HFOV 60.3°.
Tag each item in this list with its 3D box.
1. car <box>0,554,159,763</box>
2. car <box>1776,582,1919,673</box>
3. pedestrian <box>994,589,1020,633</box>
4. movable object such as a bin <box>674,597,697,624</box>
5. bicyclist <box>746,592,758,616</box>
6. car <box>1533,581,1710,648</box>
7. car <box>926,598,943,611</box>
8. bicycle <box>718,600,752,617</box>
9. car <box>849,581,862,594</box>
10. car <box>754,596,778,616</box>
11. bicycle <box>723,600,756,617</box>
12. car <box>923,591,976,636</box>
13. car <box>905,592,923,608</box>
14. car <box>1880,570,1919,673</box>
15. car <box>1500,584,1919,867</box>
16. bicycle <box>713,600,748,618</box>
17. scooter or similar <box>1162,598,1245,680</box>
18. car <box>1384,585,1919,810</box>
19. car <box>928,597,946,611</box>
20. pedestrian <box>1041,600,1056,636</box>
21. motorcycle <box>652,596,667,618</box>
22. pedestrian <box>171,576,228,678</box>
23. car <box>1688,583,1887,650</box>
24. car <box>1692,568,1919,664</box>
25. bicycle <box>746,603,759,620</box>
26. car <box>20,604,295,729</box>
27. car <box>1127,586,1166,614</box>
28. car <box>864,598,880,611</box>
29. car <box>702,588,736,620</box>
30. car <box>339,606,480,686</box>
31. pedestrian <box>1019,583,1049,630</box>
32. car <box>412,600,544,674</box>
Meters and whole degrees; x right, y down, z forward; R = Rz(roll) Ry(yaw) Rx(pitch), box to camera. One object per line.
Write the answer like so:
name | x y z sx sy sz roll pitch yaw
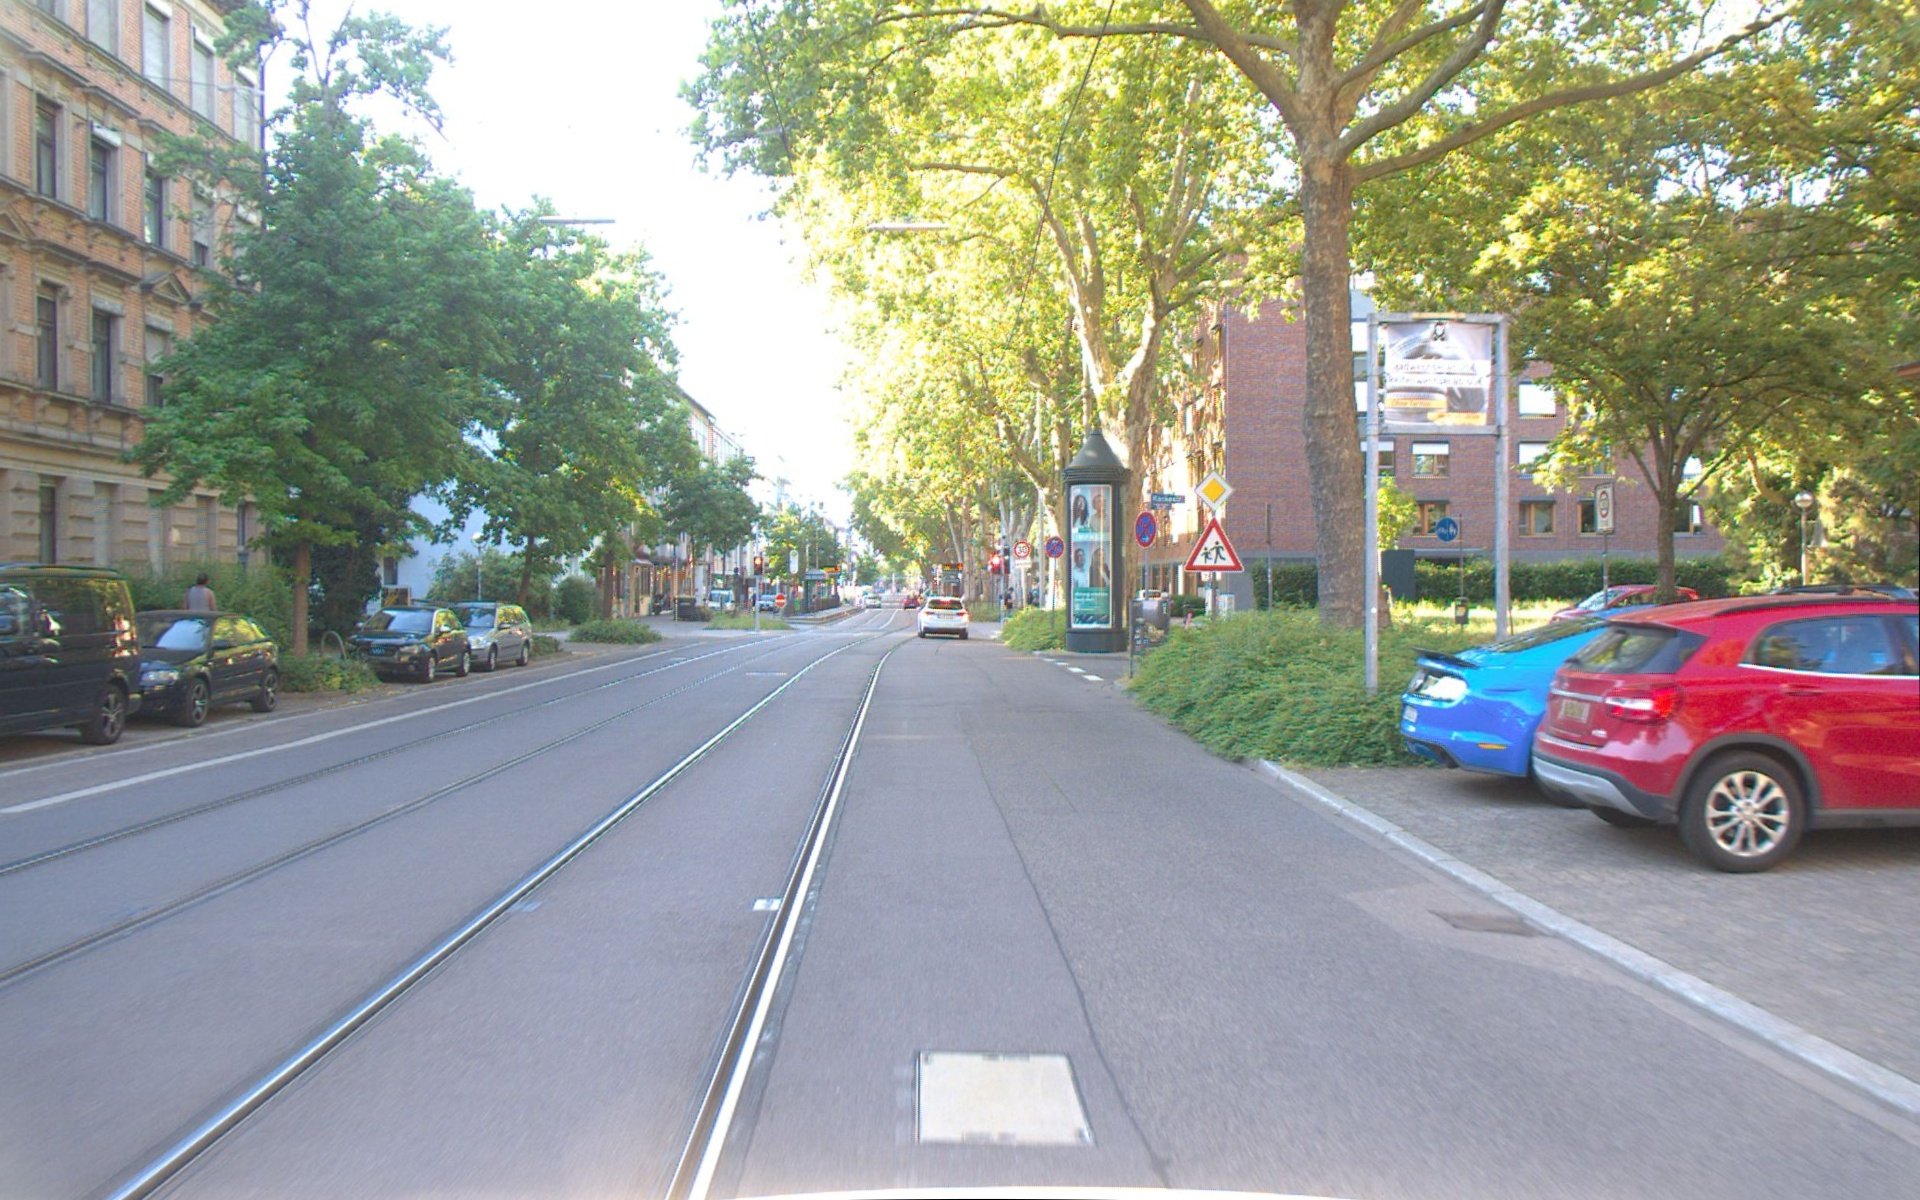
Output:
car | -10.454 0.585 17.327 1.954 2.049 4.831 -1 0 -3
car | 17.706 0.472 31.386 1.755 1.602 4.570 -1 0 -7
pedestrian | 2.024 0.473 71.748 0.975 1.843 0.863 -1 0 -8
movable object such as a bin | -14.904 0.568 89.792 1.147 1.372 0.782 3 0 -6
bicyclist | -12.986 0.231 103.441 0.628 1.480 0.836 -2 0 -3
car | 15.481 0.326 38.804 3.468 1.477 1.682 -1 0 -4
car | -2.939 0.470 189.811 1.953 1.478 3.998 -1 0 -2
bicycle | -15.781 0.589 116.077 2.207 1.093 0.636 3 0 -1
car | -15.752 -1.879 250.362 1.828 1.925 3.998 -1 0 -2
car | -15.875 0.512 135.603 1.561 1.575 3.998 2 0 -2
bicycle | -15.702 0.603 117.912 2.207 1.093 0.636 3 0 -1
car | -0.399 0.452 58.389 1.752 1.540 3.998 -1 0 -2
car | -4.525 -0.038 162.278 1.752 1.540 3.998 -1 0 -2
car | 14.529 0.298 22.233 1.713 1.460 4.466 -1 0 -2
car | 5.819 0.685 10.248 4.313 1.570 1.952 -1 0 0
bicycle | -15.375 0.607 110.647 2.207 1.093 0.636 3 0 -1
scooter or similar | 3.842 0.614 26.109 1.184 1.261 0.569 -1 -1 -4
car | 5.561 0.687 12.523 4.310 1.570 1.819 -1 0 5
car | -2.578 0.467 184.737 1.953 1.478 3.998 -1 0 -2
pedestrian | 4.277 0.867 80.190 0.639 1.698 0.737 -1 0 -3
motorcycle | -18.507 0.410 101.823 0.587 1.334 2.221 -1 0 -2
pedestrian | -14.234 0.499 30.960 0.727 1.879 0.728 1 0 -4
car | 19.319 0.366 38.676 3.840 1.477 1.682 -1 0 -4
car | 15.574 0.254 30.397 1.755 1.602 4.570 -1 0 -7
bicycle | -12.964 0.714 103.432 0.628 1.004 2.100 -2 0 -3
car | -10.730 0.823 22.488 1.816 1.484 4.267 -1 0 -3
car | 10.372 0.011 91.996 1.568 1.521 3.415 -1 0 -3
car | -9.963 0.538 187.361 1.660 1.444 3.998 -1 0 -2
car | -14.981 0.234 103.014 1.654 1.974 3.998 -1 0 -2
car | -10.878 0.866 32.937 1.625 1.470 3.947 0 0 -3
pedestrian | 3.090 0.262 68.821 0.964 1.896 1.014 -4 0 -7
car | -11.056 0.814 38.256 1.664 1.577 4.536 0 0 1
